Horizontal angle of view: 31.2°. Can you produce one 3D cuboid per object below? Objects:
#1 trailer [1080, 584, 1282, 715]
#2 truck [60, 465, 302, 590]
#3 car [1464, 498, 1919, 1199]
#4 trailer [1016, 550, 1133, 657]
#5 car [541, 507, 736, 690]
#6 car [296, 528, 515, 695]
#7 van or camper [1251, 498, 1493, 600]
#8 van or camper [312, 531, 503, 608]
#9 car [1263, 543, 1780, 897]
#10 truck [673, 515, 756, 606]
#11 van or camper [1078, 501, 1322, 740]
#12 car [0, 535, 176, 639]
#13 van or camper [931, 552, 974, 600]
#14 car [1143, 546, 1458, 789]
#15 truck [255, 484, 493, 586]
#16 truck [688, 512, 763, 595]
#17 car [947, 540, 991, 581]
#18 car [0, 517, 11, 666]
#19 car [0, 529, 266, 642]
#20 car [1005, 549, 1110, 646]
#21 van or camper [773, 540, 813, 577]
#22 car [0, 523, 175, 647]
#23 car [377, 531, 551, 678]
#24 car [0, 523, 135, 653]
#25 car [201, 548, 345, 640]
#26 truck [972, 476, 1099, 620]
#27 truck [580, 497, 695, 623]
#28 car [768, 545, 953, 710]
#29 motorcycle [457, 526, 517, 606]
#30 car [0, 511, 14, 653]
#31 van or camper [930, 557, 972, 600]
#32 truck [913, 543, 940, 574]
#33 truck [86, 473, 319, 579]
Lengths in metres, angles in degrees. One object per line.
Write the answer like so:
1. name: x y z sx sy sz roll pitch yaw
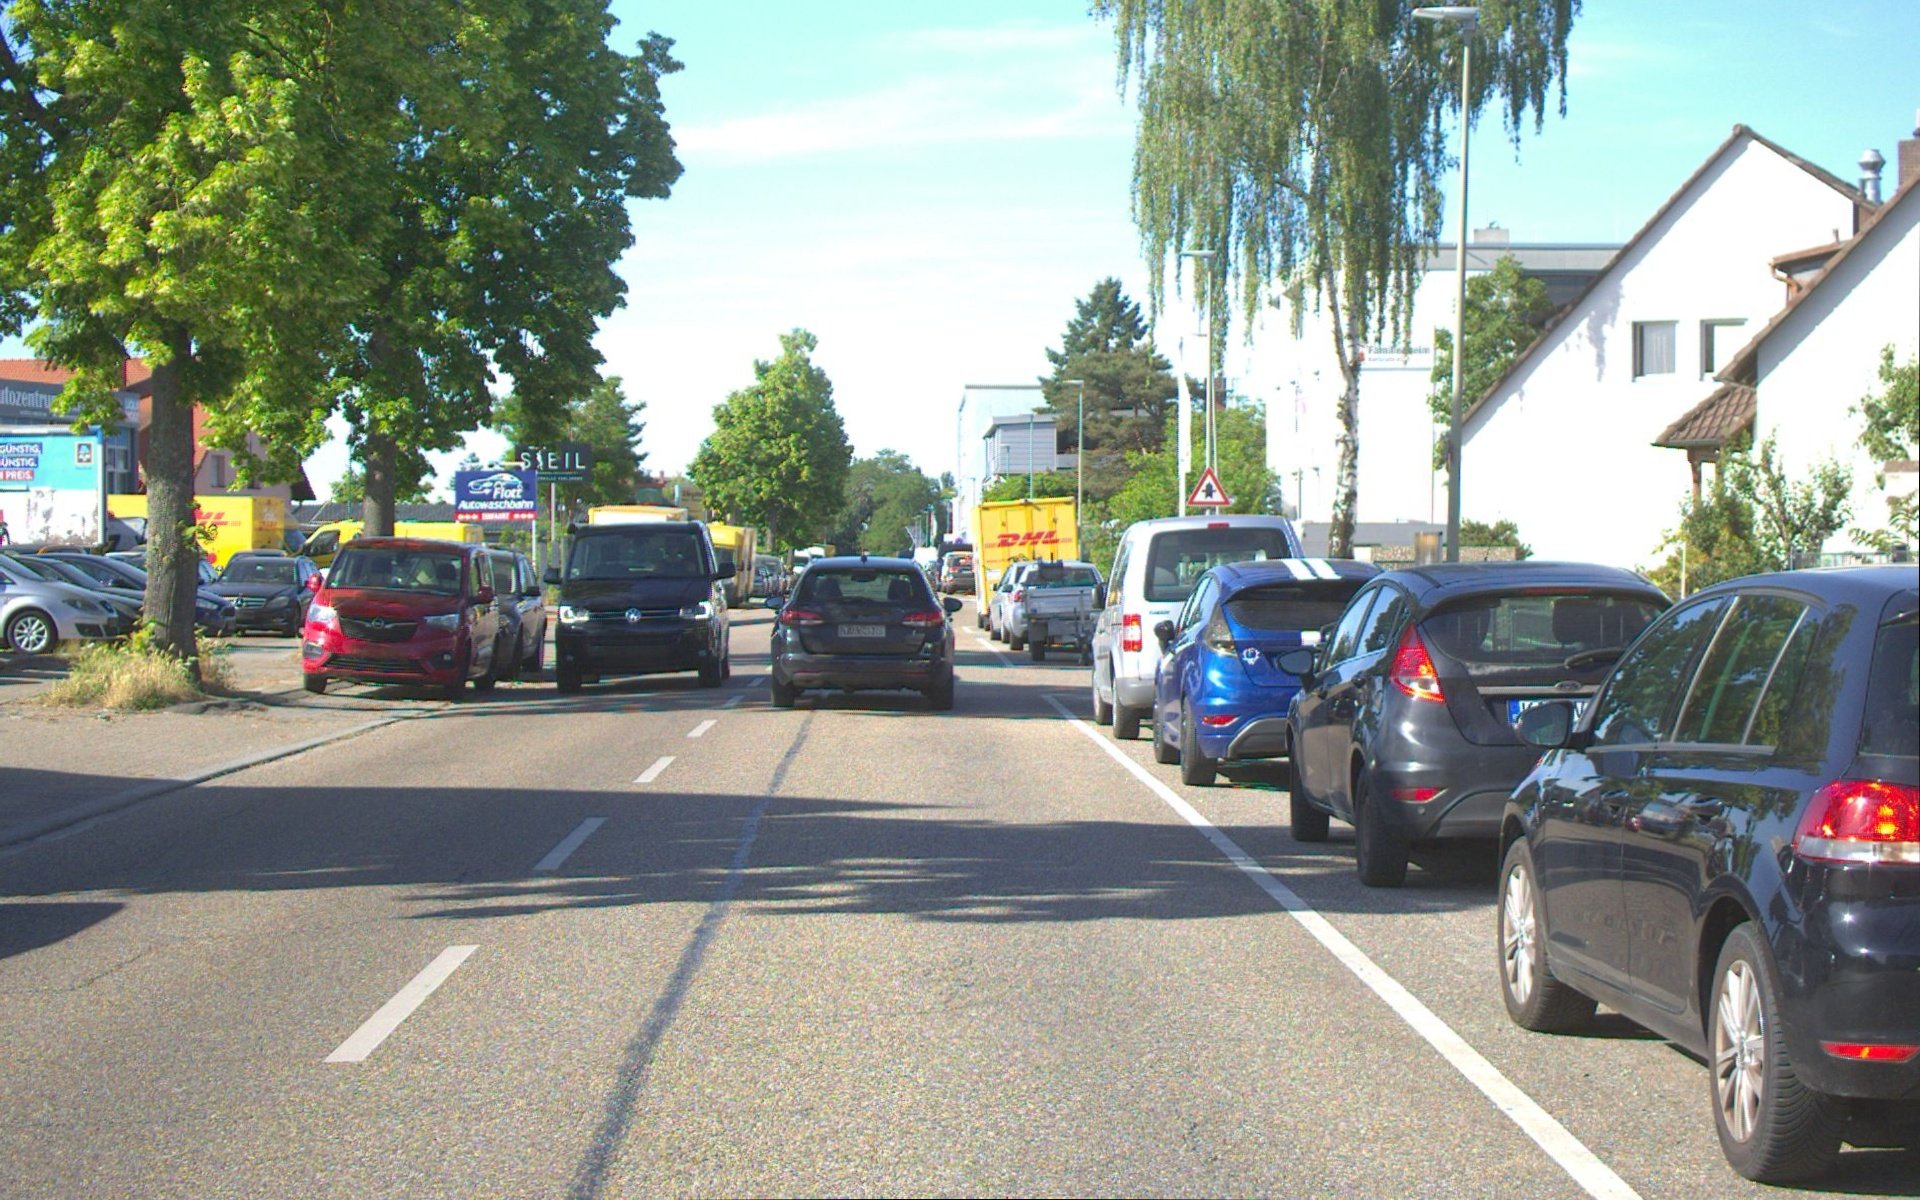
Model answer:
1. trailer: 2.175 0.465 34.529 1.627 1.213 3.145 0 1 -4
2. truck: -20.666 -1.937 91.340 5.671 3.109 2.522 2 1 10
3. car: 2.638 0.581 9.384 1.775 1.653 3.817 1 1 -3
4. trailer: 1.674 0.027 51.256 1.627 1.533 3.198 0 1 0
5. car: -3.784 -0.050 41.189 1.894 2.024 4.818 -1 1 -1
6. car: -6.279 0.092 39.371 1.803 1.746 4.342 2 1 -1
7. van or camper: 10.486 -1.293 87.429 5.812 2.532 2.290 0 1 -26
8. van or camper: -14.511 -0.811 90.485 4.544 2.007 2.250 0 1 6
9. car: 2.581 0.488 16.685 1.718 1.499 3.907 1 1 -2
10. truck: -8.414 -1.362 118.240 2.402 2.973 6.374 2 1 -1
11. van or camper: 1.978 0.135 29.395 1.718 1.884 4.180 1 1 -1
12. car: -15.965 -0.268 62.690 1.777 1.742 4.162 0 2 10
13. van or camper: -0.370 -1.168 166.065 1.993 2.302 4.000 0 1 -1
14. car: 2.228 0.398 23.295 1.718 1.499 3.564 1 1 -1
15. truck: -15.919 -1.767 93.461 5.924 2.559 2.223 2 1 11
16. truck: -8.573 -1.720 126.118 2.192 2.892 6.439 2 1 0
17. car: 0.396 -1.797 155.818 1.919 1.819 4.080 0 1 -1
18. car: -13.272 -0.092 39.427 4.249 1.723 1.765 0 1 5
19. car: -13.143 -0.230 53.533 4.249 1.723 1.765 0 1 5
20. car: 1.654 -0.072 57.207 1.674 1.537 4.043 1 1 3
21. van or camper: -10.928 -2.705 224.415 2.323 2.354 6.529 0 1 -5
22. car: -13.497 -0.217 48.794 4.249 1.723 1.765 0 1 5
23. car: -6.454 0.015 45.164 1.674 1.765 4.555 2 1 -2
24. car: -13.523 -0.173 46.558 4.249 1.723 1.766 0 1 1
25. car: -12.426 -0.085 62.420 1.861 1.584 4.276 0 -1 -2
26. truck: 1.588 -1.130 75.415 2.402 2.926 7.017 -2 1 -1
27. truck: -8.077 -1.013 86.686 2.402 2.973 7.246 2 1 -2
28. car: -0.935 0.225 34.034 1.711 1.527 3.687 0 1 0
29. motorcycle: -11.606 -0.853 84.415 0.781 1.866 3.040 3 2 3
30. car: -13.871 -0.212 41.721 4.249 1.723 1.765 0 1 5
31. van or camper: -0.421 -1.023 161.184 1.919 2.012 4.080 0 1 -1
32. truck: -2.564 -3.136 260.331 1.993 2.280 6.956 0 1 -1
33. truck: -21.477 -2.091 97.559 6.095 2.962 2.172 0 1 12
